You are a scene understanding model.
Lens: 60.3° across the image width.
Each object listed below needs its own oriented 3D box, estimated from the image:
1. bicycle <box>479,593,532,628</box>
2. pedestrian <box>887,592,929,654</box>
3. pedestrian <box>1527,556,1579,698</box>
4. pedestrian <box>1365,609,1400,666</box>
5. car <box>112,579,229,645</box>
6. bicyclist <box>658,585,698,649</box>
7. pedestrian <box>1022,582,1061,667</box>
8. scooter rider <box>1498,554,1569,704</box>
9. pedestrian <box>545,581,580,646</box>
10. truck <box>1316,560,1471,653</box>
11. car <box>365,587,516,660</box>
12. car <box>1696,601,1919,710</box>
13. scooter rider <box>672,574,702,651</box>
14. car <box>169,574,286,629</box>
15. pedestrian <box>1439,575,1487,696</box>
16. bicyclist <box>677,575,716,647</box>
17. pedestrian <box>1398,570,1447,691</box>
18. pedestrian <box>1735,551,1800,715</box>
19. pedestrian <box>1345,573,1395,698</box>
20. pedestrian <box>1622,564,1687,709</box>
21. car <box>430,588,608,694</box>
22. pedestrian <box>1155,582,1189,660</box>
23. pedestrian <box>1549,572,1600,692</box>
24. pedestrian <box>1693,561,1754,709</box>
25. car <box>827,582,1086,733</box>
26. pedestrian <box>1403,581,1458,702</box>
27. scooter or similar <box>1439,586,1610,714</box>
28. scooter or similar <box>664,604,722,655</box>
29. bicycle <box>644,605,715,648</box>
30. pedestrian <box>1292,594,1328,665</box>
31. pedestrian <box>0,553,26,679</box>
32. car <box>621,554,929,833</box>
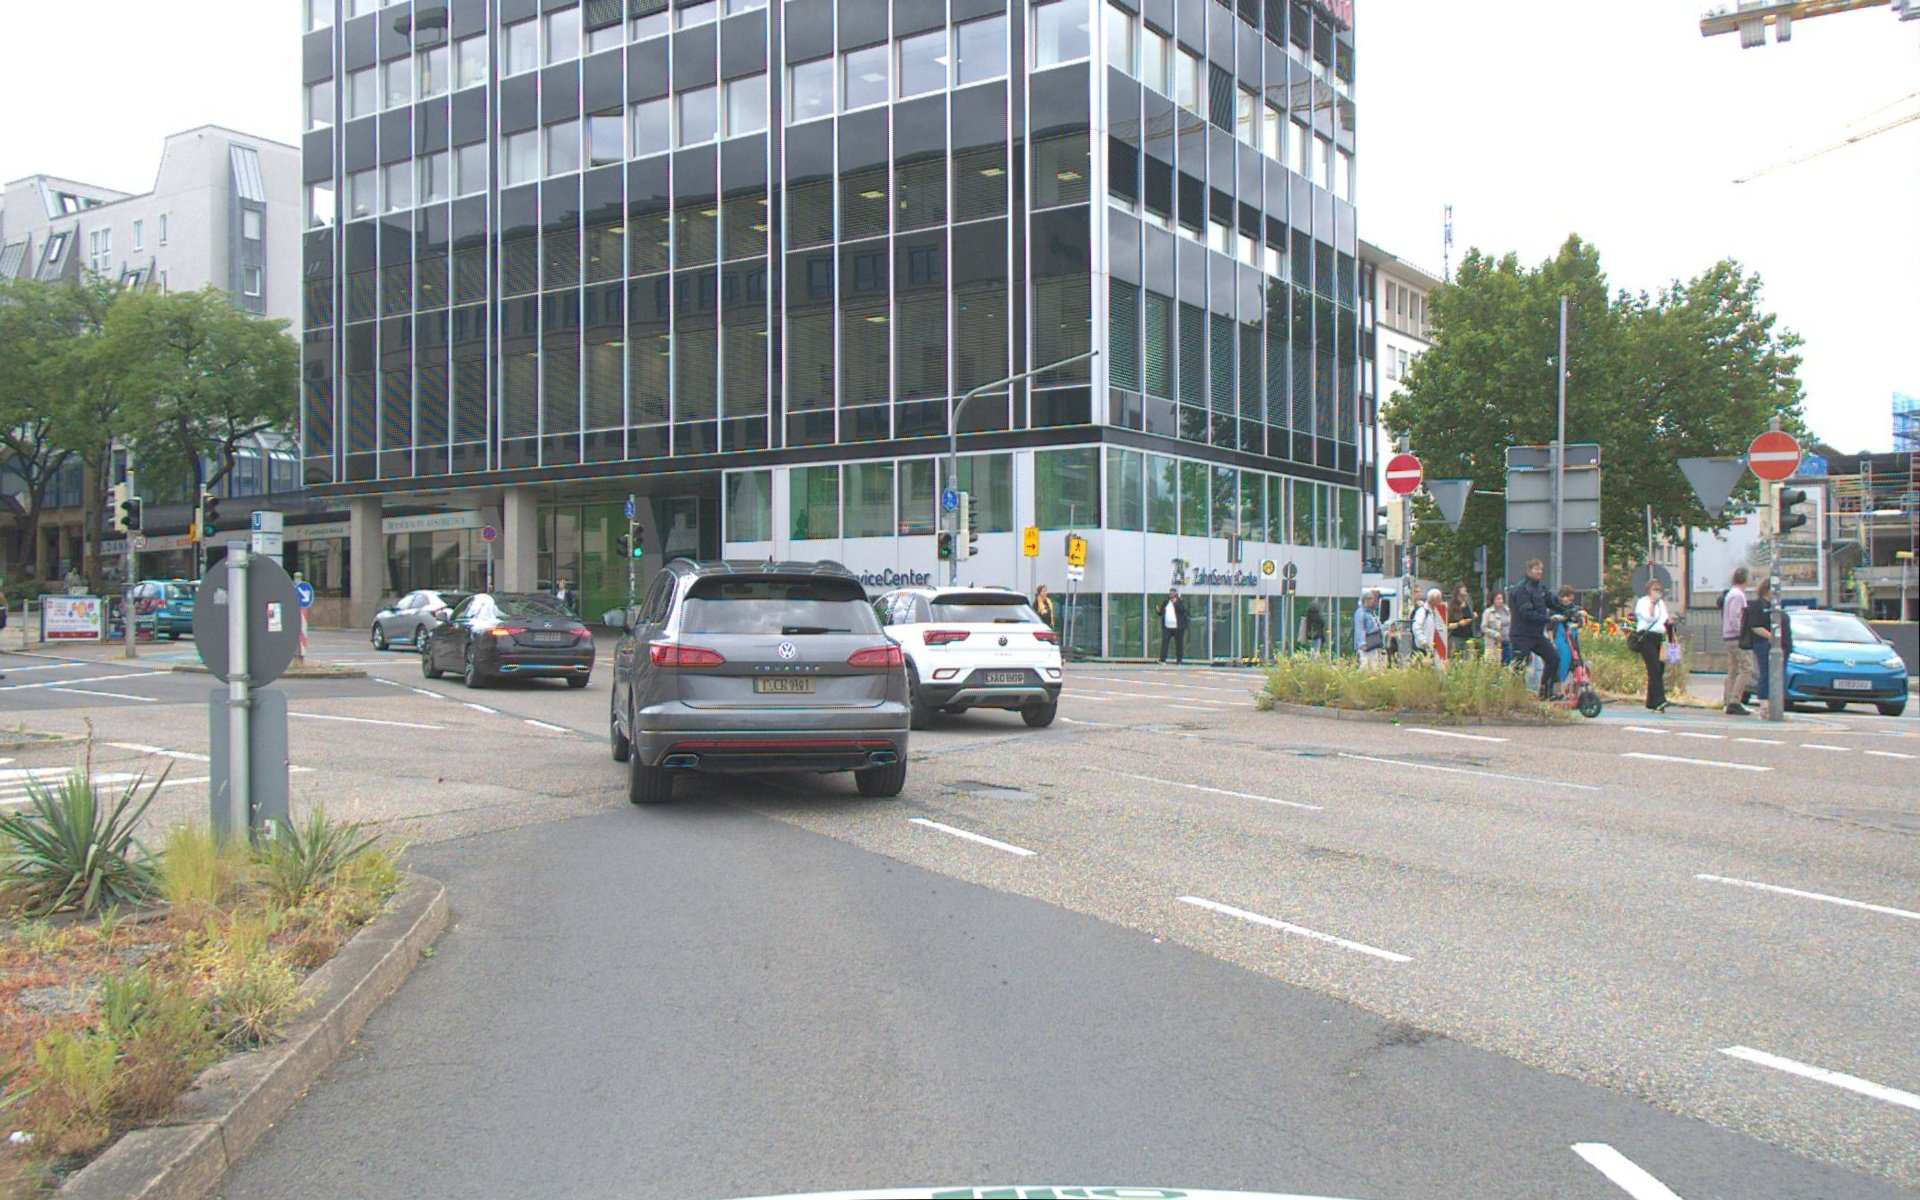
[{"bbox_3d":[-14.369,0.325,52.285,1.450,1.066,0.714,1,0,19],"label":"bicycle"},{"bbox_3d":[-1.257,0.547,39.833,0.822,1.468,0.604,1,1,35],"label":"pedestrian"},{"bbox_3d":[8.494,0.381,23.710,0.627,1.999,0.611,1,0,16],"label":"pedestrian"},{"bbox_3d":[13.350,1.178,52.258,0.855,1.777,0.846,1,0,31],"label":"pedestrian"},{"bbox_3d":[-19.971,0.265,41.792,1.821,1.544,3.712,-1,1,-40],"label":"car"},{"bbox_3d":[-6.957,0.418,40.863,0.825,1.576,0.566,0,0,10],"label":"bicyclist"},{"bbox_3d":[1.682,0.490,34.106,0.538,1.727,0.798,0,0,-19],"label":"pedestrian"},{"bbox_3d":[6.787,0.331,19.565,0.729,1.723,0.766,1,0,23],"label":"scooter rider"},{"bbox_3d":[-10.874,0.371,45.233,0.737,1.741,0.525,-1,0,34],"label":"pedestrian"},{"bbox_3d":[15.656,0.270,59.284,2.301,3.117,8.160,1,-1,38],"label":"truck"},{"bbox_3d":[-11.985,0.514,38.047,1.823,1.457,4.086,2,1,-41],"label":"car"},{"bbox_3d":[13.400,0.799,26.279,1.901,1.508,4.632,0,1,8],"label":"car"},{"bbox_3d":[-6.528,0.292,39.625,0.628,1.840,0.593,0,0,-2],"label":"scooter rider"},{"bbox_3d":[-21.320,0.014,48.085,3.701,1.544,1.826,1,1,43],"label":"car"},{"bbox_3d":[7.345,0.513,24.151,0.627,1.725,0.611,1,0,16],"label":"pedestrian"},{"bbox_3d":[-6.974,0.290,43.813,0.797,1.878,0.673,0,0,35],"label":"bicyclist"},{"bbox_3d":[7.223,0.466,25.835,0.686,1.847,0.670,1,0,18],"label":"pedestrian"},{"bbox_3d":[9.957,0.397,20.406,0.627,1.989,0.611,1,0,19],"label":"pedestrian"},{"bbox_3d":[6.372,0.542,25.689,0.686,1.895,0.670,1,0,18],"label":"pedestrian"},{"bbox_3d":[9.032,0.462,21.519,0.627,1.828,0.611,3,0,16],"label":"pedestrian"},{"bbox_3d":[-6.990,0.605,25.957,1.812,1.420,4.110,2,1,-28],"label":"car"},{"bbox_3d":[4.945,0.487,38.533,0.622,1.778,0.591,1,0,23],"label":"pedestrian"},{"bbox_3d":[9.015,0.460,24.289,0.627,1.725,0.611,1,0,16],"label":"pedestrian"},{"bbox_3d":[10.230,0.459,22.178,0.627,1.943,0.611,1,0,16],"label":"pedestrian"},{"bbox_3d":[-0.156,0.581,19.414,1.772,1.572,3.911,0,1,-21],"label":"car"},{"bbox_3d":[7.116,0.619,25.000,0.745,1.792,0.670,1,0,18],"label":"pedestrian"},{"bbox_3d":[6.690,0.573,19.602,1.844,1.431,0.776,1,0,23],"label":"scooter or similar"},{"bbox_3d":[-6.401,0.699,39.636,1.293,1.196,0.593,0,0,-3],"label":"scooter or similar"},{"bbox_3d":[-6.933,0.658,40.860,1.629,1.045,0.582,0,0,10],"label":"bicycle"},{"bbox_3d":[8.538,0.702,40.357,0.584,1.708,0.629,1,0,-36],"label":"pedestrian"},{"bbox_3d":[-14.234,0.234,24.243,0.622,1.821,0.714,2,5,39],"label":"pedestrian"},{"bbox_3d":[-1.550,0.524,12.486,1.935,1.725,4.213,0,1,-11],"label":"car"}]
